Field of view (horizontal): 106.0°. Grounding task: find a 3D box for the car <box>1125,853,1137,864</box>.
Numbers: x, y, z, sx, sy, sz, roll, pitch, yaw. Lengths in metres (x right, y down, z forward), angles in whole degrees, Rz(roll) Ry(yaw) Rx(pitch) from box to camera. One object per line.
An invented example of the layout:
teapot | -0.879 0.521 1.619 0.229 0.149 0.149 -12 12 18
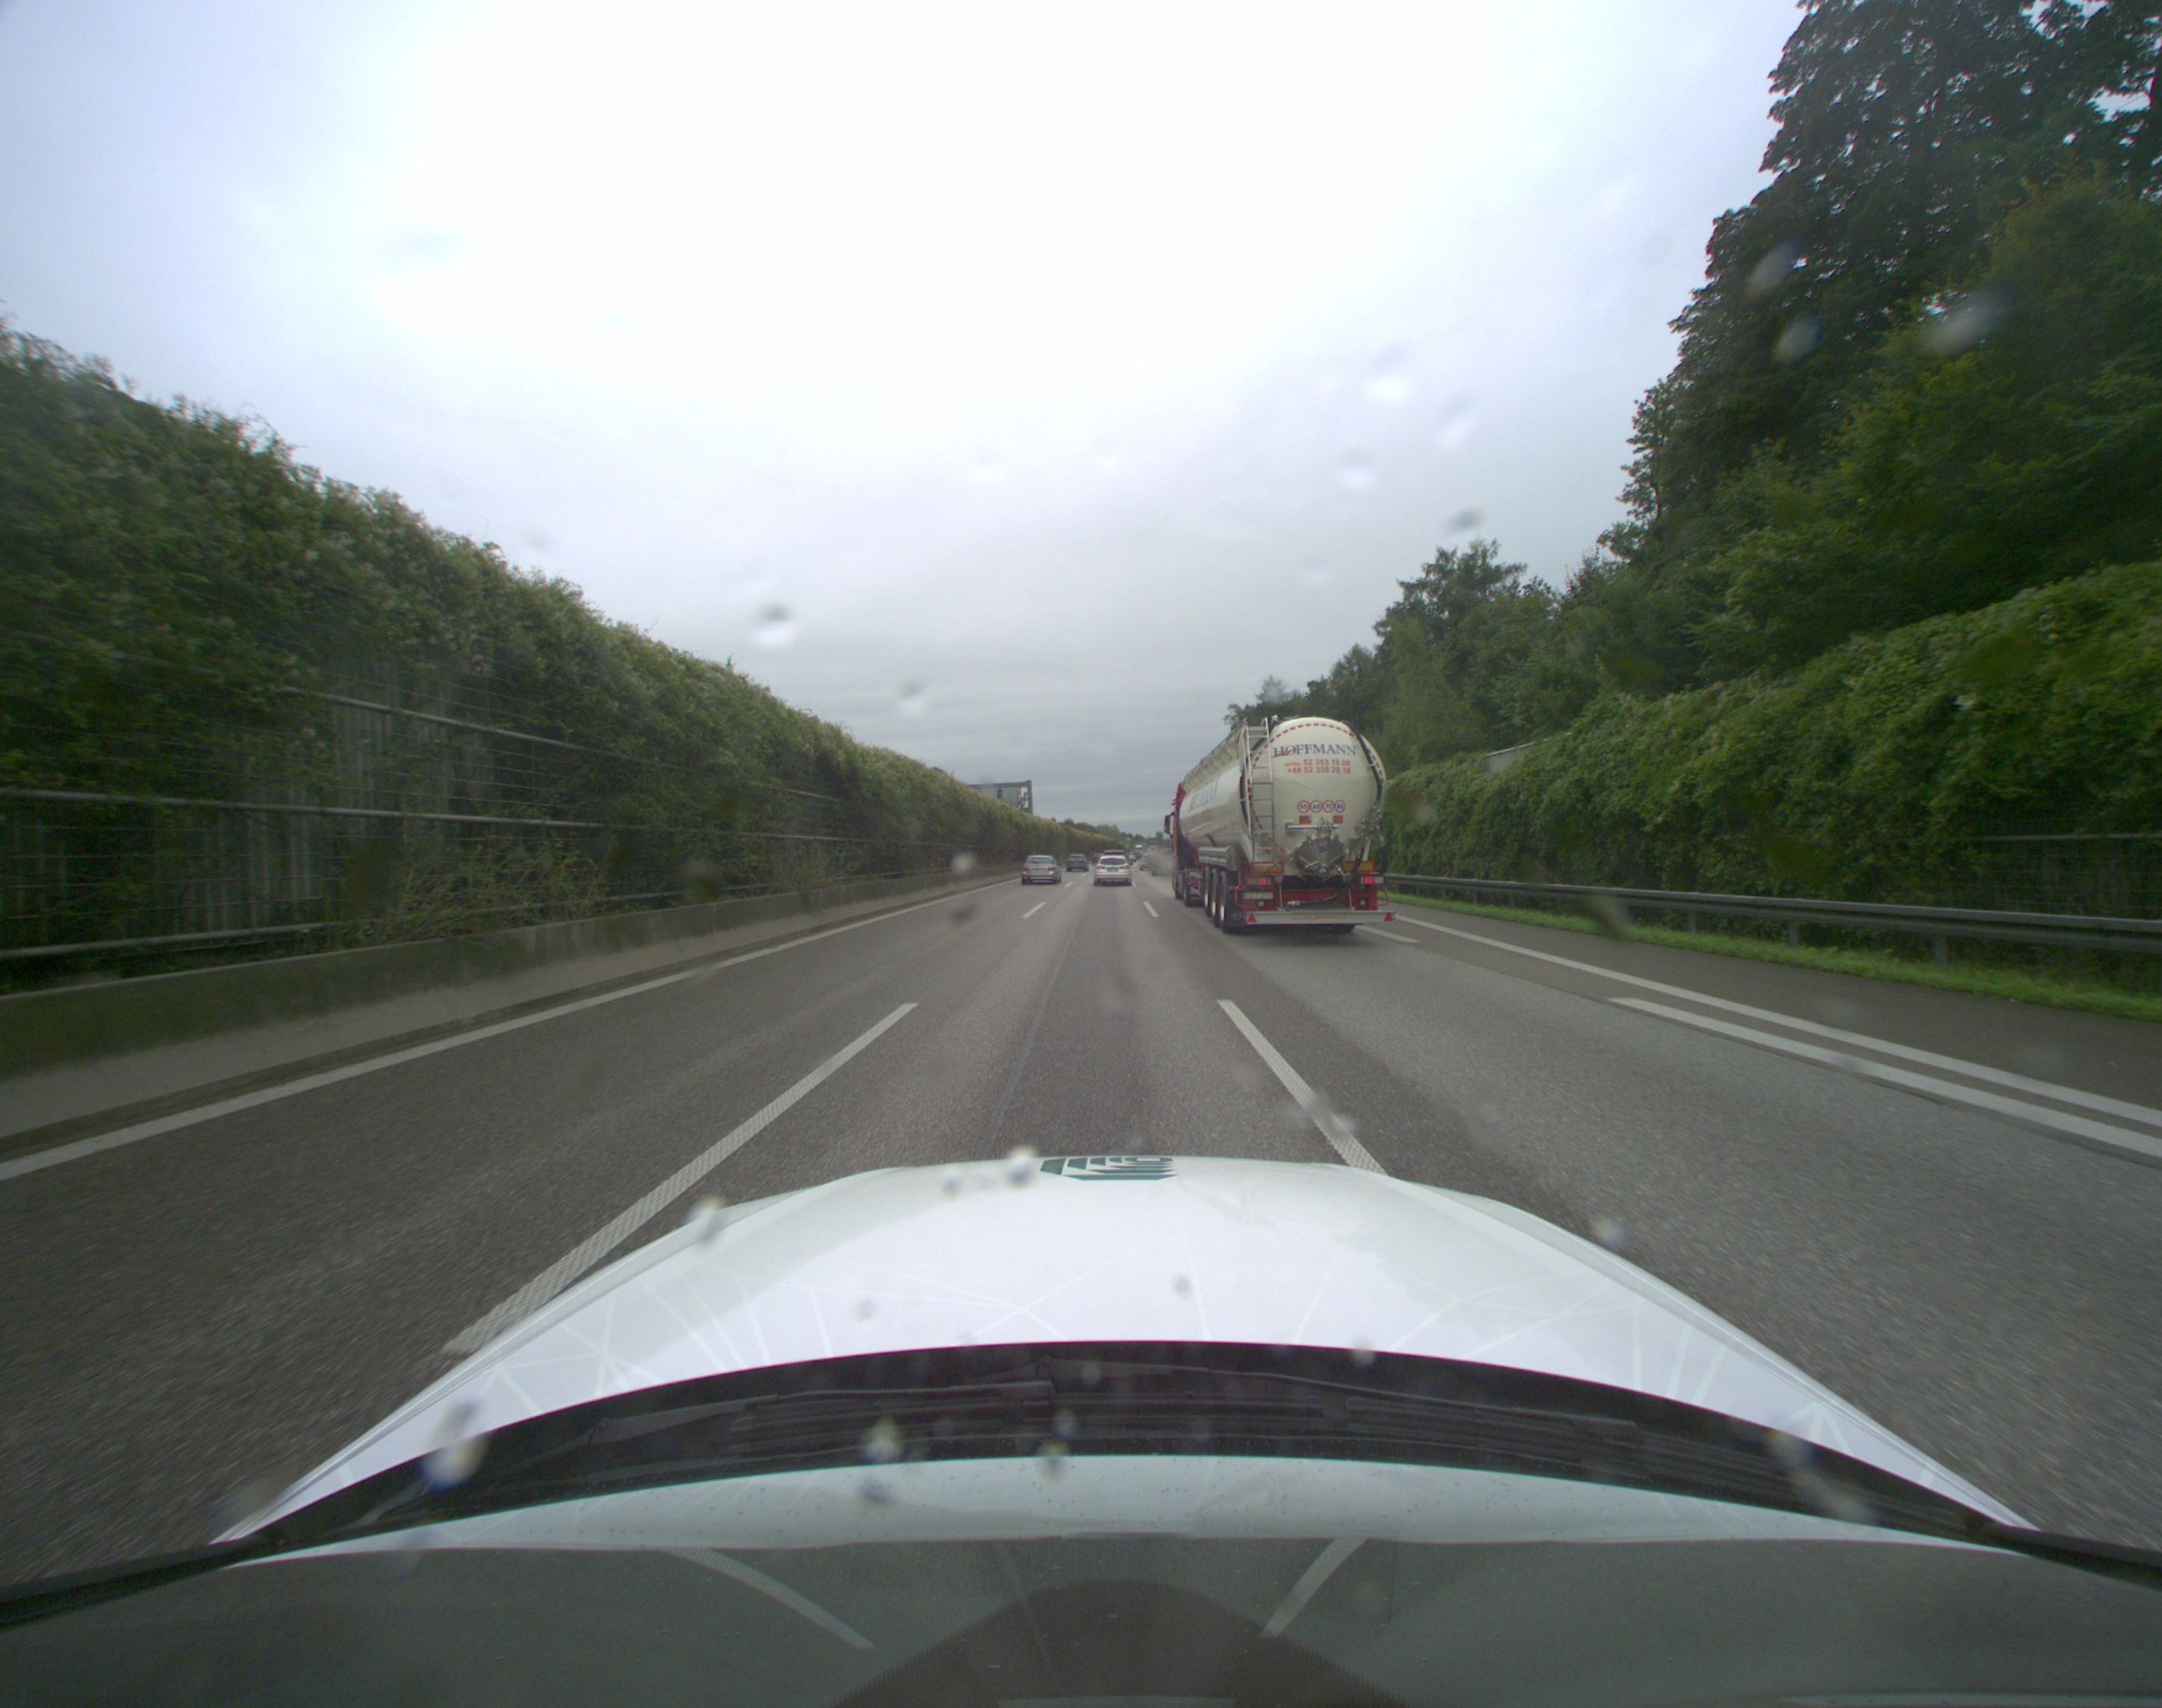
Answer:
car | 8.073 0.700 130.871 1.782 1.779 3.876 -2 0 4

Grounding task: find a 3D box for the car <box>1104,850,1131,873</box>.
car | 2.604 0.519 58.948 1.683 1.506 3.872 3 1 0

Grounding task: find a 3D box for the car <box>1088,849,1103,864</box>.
car | 2.056 0.299 112.690 1.986 2.013 3.842 -1 0 1

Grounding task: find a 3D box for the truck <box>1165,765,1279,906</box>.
truck | 4.280 -0.507 26.134 2.685 3.912 6.559 -1 0 2

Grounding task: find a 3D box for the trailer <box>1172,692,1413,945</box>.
trailer | 4.053 -0.515 19.374 2.658 3.939 13.134 -1 0 2

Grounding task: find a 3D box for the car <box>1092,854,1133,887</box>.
car | 1.620 0.765 40.803 1.884 1.504 5.034 -1 0 3

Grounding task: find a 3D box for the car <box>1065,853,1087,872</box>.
car | -0.425 0.712 71.168 1.714 1.512 5.031 -1 0 1

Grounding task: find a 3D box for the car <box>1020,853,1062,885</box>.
car | -2.051 0.742 42.920 1.713 1.469 5.034 -1 1 3

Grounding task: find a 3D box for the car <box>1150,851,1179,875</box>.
car | 5.786 0.600 56.811 1.808 1.625 5.036 -1 0 4

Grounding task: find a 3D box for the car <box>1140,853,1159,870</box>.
car | 6.176 0.685 73.761 1.681 1.506 3.875 -1 0 4

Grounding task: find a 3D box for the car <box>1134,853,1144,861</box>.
car | 11.427 0.648 160.123 1.680 1.539 3.878 -1 0 6
